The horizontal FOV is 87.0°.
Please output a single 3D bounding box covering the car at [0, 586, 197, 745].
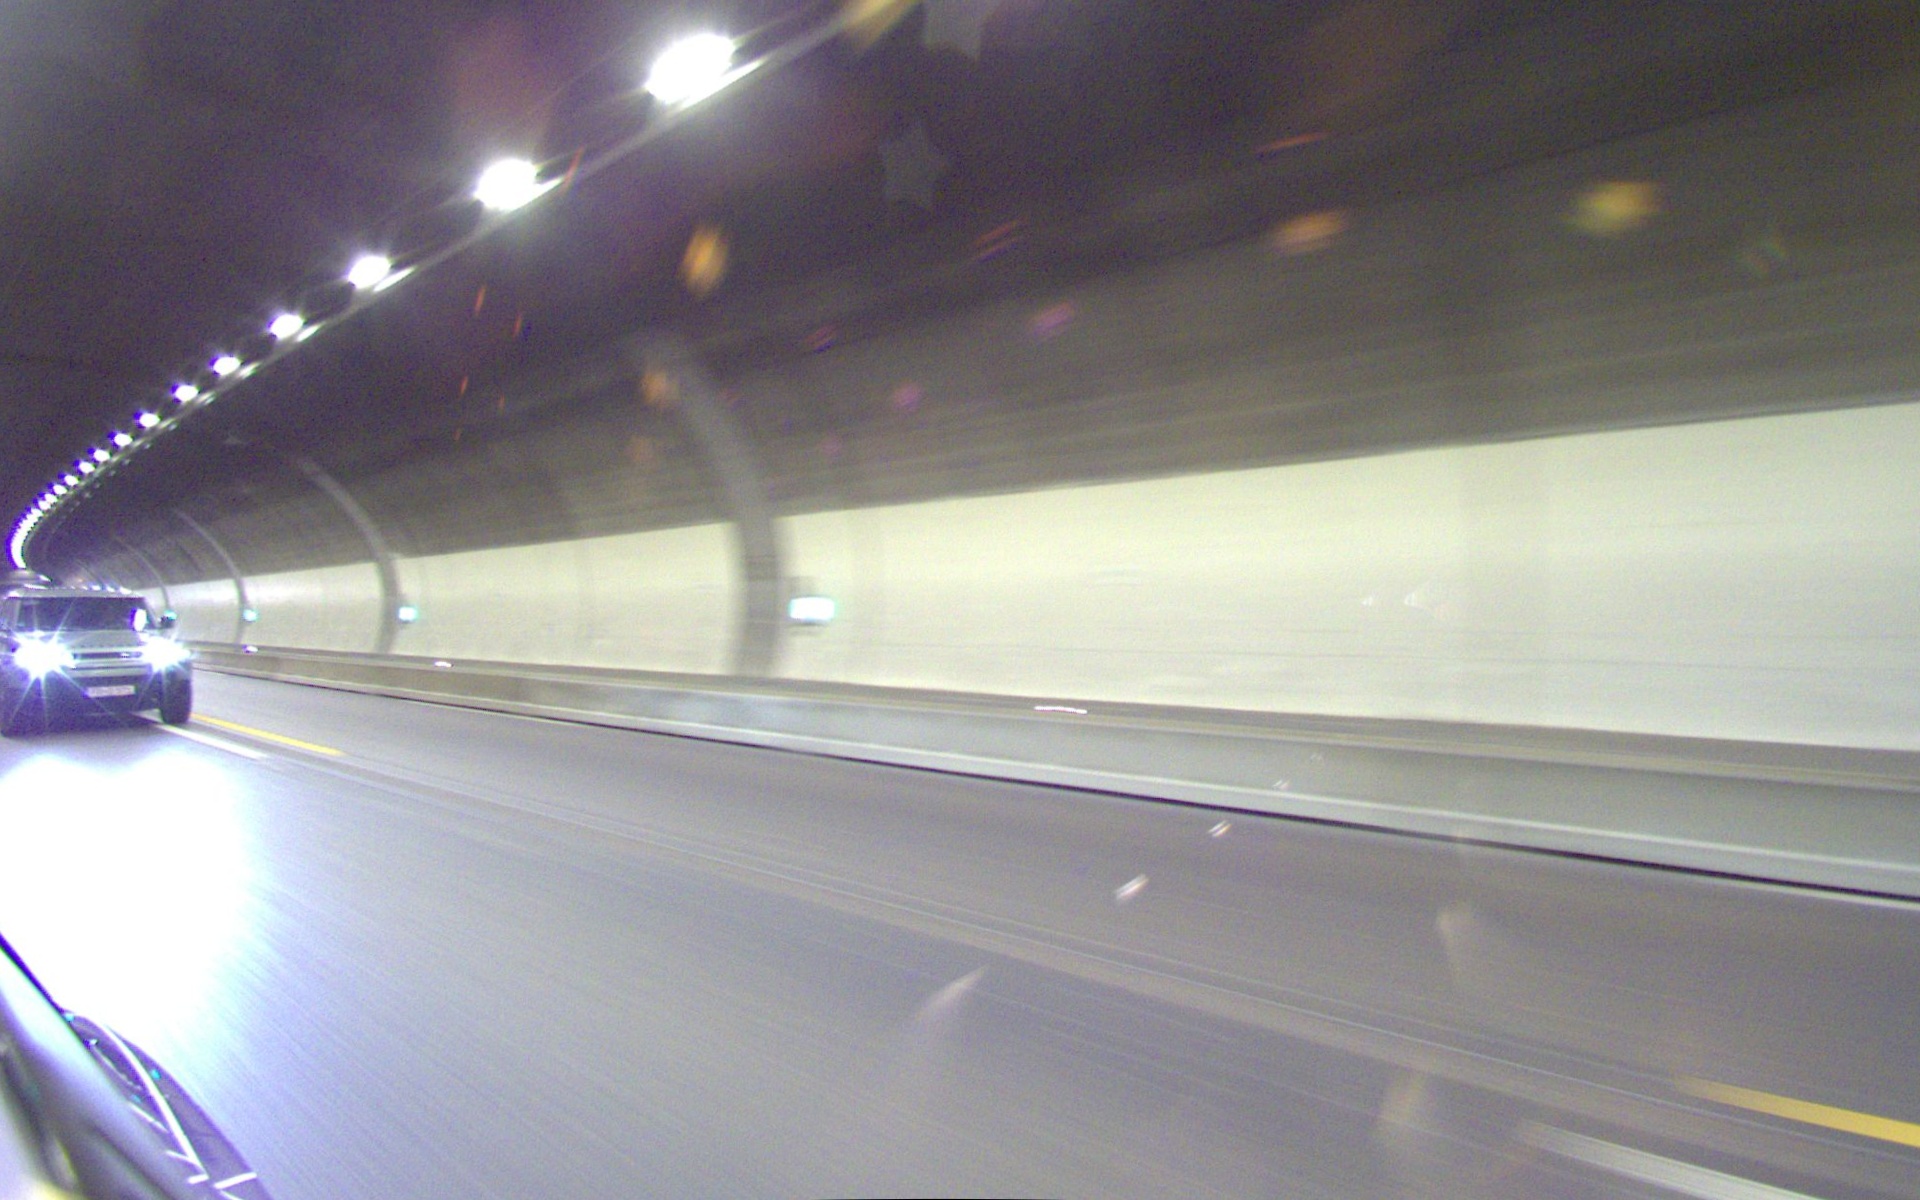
[{"bbox_3d":[-12.903,0.812,14.656,5.452,1.909,1.972,-1,0,42],"label":"car"}]
